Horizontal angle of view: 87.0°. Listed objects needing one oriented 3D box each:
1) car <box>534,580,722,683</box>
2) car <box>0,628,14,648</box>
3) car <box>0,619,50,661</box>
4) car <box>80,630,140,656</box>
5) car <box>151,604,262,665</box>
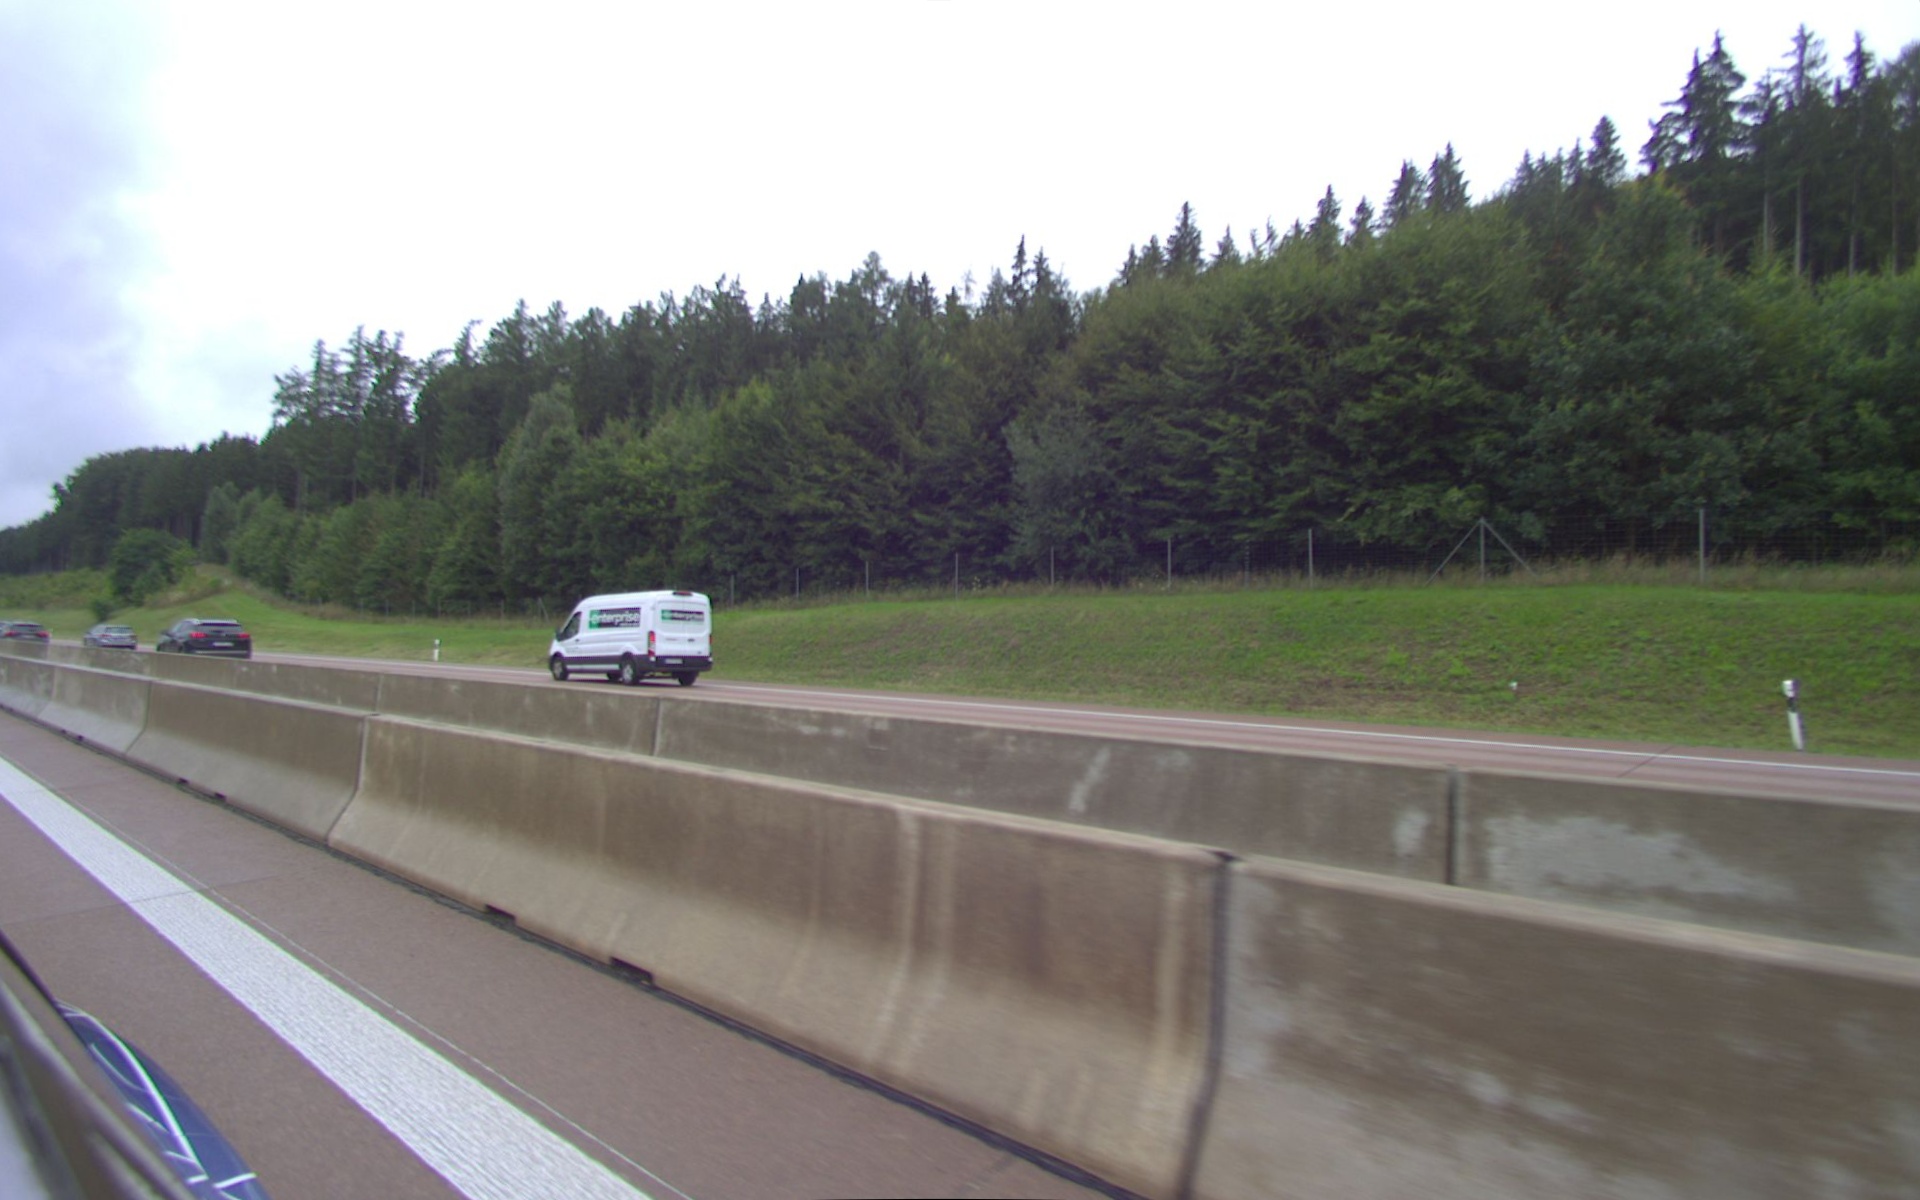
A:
[{"bbox_3d":[-9.449,0.761,28.453,6.253,2.604,2.200,0,1,42],"label":"car"},{"bbox_3d":[-80.340,3.142,84.152,4.861,1.569,1.770,-1,-3,40],"label":"car"},{"bbox_3d":[-47.786,1.985,51.038,5.521,2.029,1.974,-1,-2,40],"label":"car"},{"bbox_3d":[-47.008,2.363,55.932,4.806,1.400,1.633,-1,-4,40],"label":"car"},{"bbox_3d":[-24.708,1.112,33.125,4.685,1.841,1.972,-1,-2,42],"label":"car"}]
